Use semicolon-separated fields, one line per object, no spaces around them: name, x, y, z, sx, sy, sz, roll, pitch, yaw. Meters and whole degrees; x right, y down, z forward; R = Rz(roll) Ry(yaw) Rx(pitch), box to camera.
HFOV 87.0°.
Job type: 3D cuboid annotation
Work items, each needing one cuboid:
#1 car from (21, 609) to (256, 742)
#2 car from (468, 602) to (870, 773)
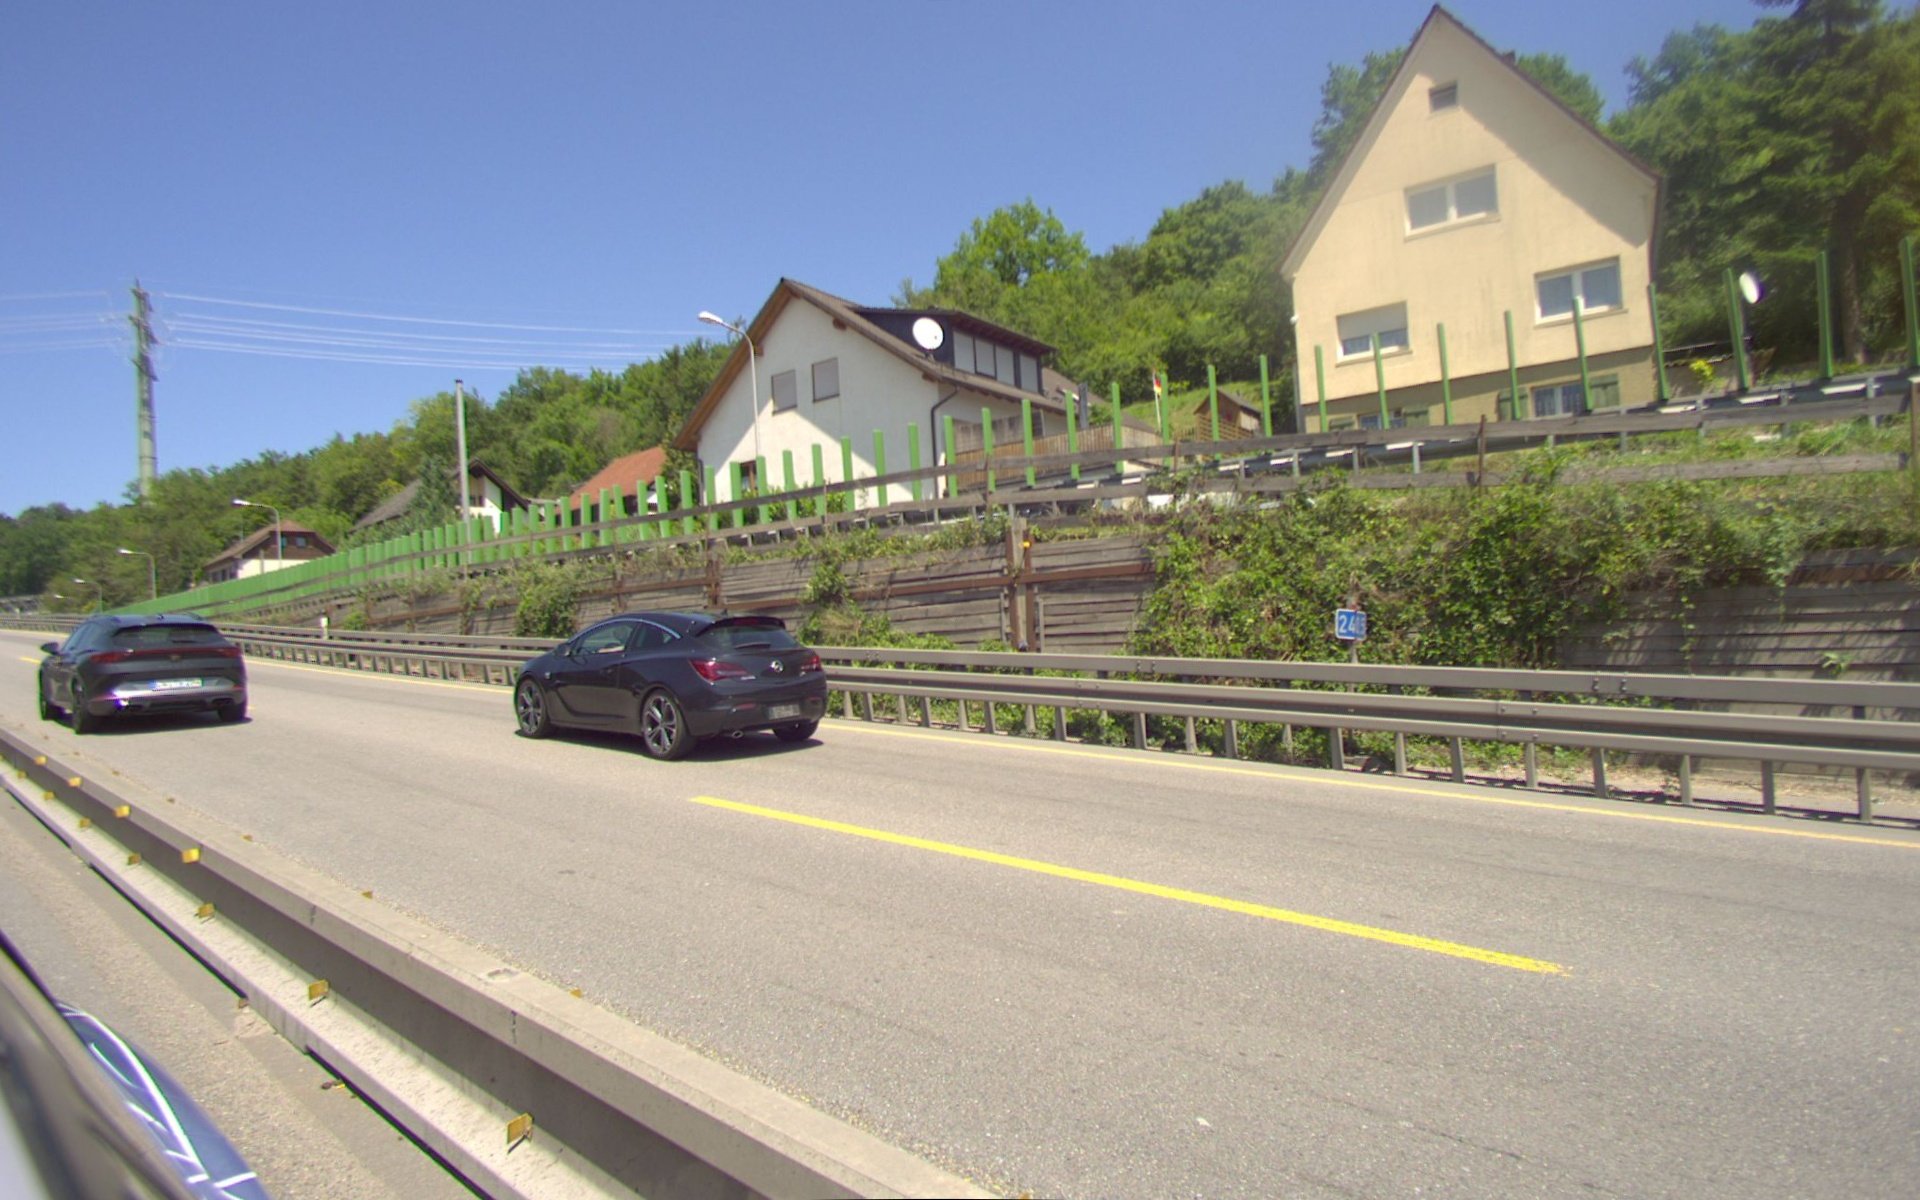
car;-11.517;0.915;14.084;4.291;1.541;1.824;0;0;41
car;-3.418;0.786;11.260;5.003;1.459;1.795;0;2;40
